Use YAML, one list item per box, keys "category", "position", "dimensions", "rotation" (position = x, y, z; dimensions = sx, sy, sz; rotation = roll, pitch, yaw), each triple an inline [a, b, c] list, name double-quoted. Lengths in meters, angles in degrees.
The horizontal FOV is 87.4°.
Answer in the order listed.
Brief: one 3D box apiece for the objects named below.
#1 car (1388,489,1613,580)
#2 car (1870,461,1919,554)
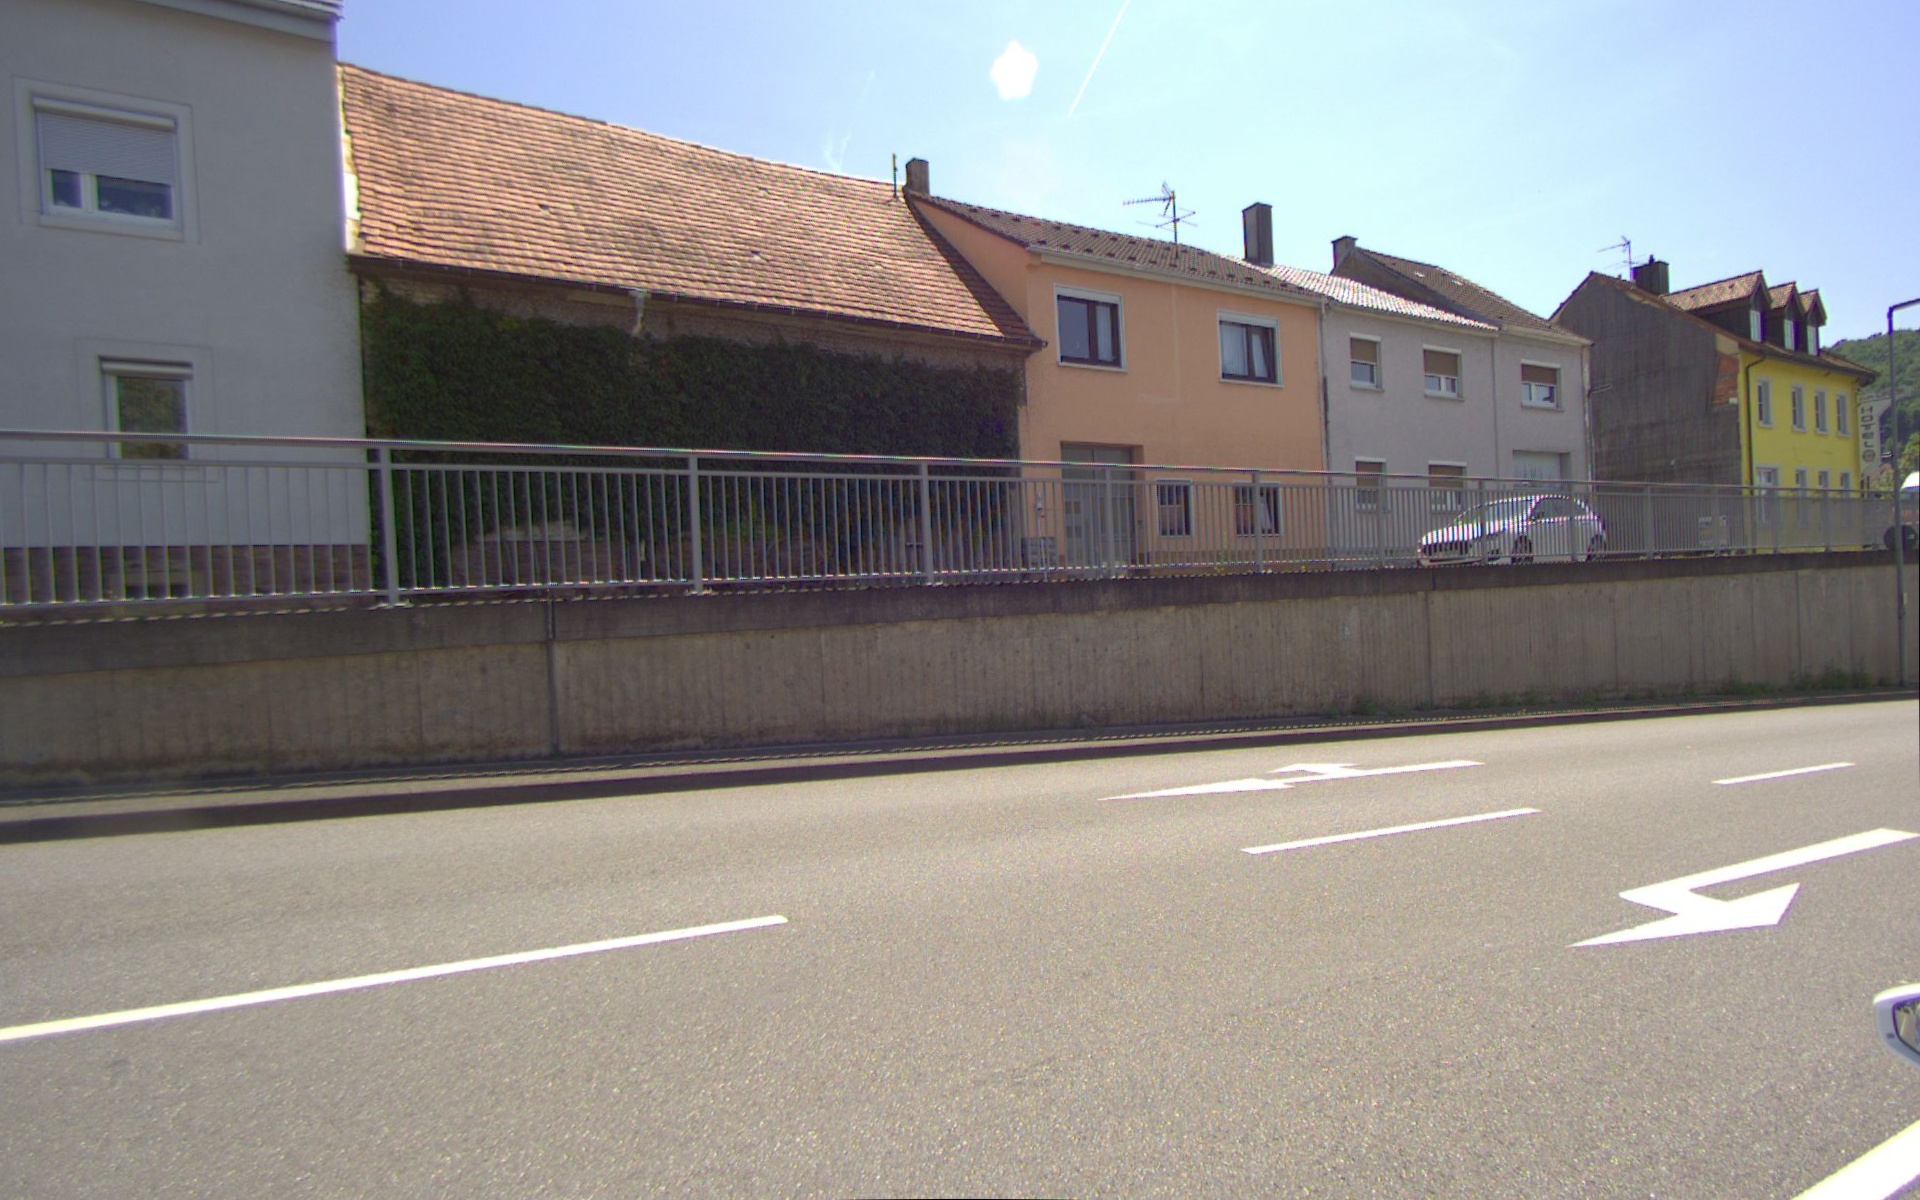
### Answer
- category: "car"
  position: [10.025, -1.185, 18.560]
  dimensions: [4.261, 1.482, 1.803]
  rotation: [-3, 2, -32]
- category: "car"
  position: [29.401, -2.727, 29.669]
  dimensions: [5.591, 2.571, 2.056]
  rotation: [-2, 2, -29]
